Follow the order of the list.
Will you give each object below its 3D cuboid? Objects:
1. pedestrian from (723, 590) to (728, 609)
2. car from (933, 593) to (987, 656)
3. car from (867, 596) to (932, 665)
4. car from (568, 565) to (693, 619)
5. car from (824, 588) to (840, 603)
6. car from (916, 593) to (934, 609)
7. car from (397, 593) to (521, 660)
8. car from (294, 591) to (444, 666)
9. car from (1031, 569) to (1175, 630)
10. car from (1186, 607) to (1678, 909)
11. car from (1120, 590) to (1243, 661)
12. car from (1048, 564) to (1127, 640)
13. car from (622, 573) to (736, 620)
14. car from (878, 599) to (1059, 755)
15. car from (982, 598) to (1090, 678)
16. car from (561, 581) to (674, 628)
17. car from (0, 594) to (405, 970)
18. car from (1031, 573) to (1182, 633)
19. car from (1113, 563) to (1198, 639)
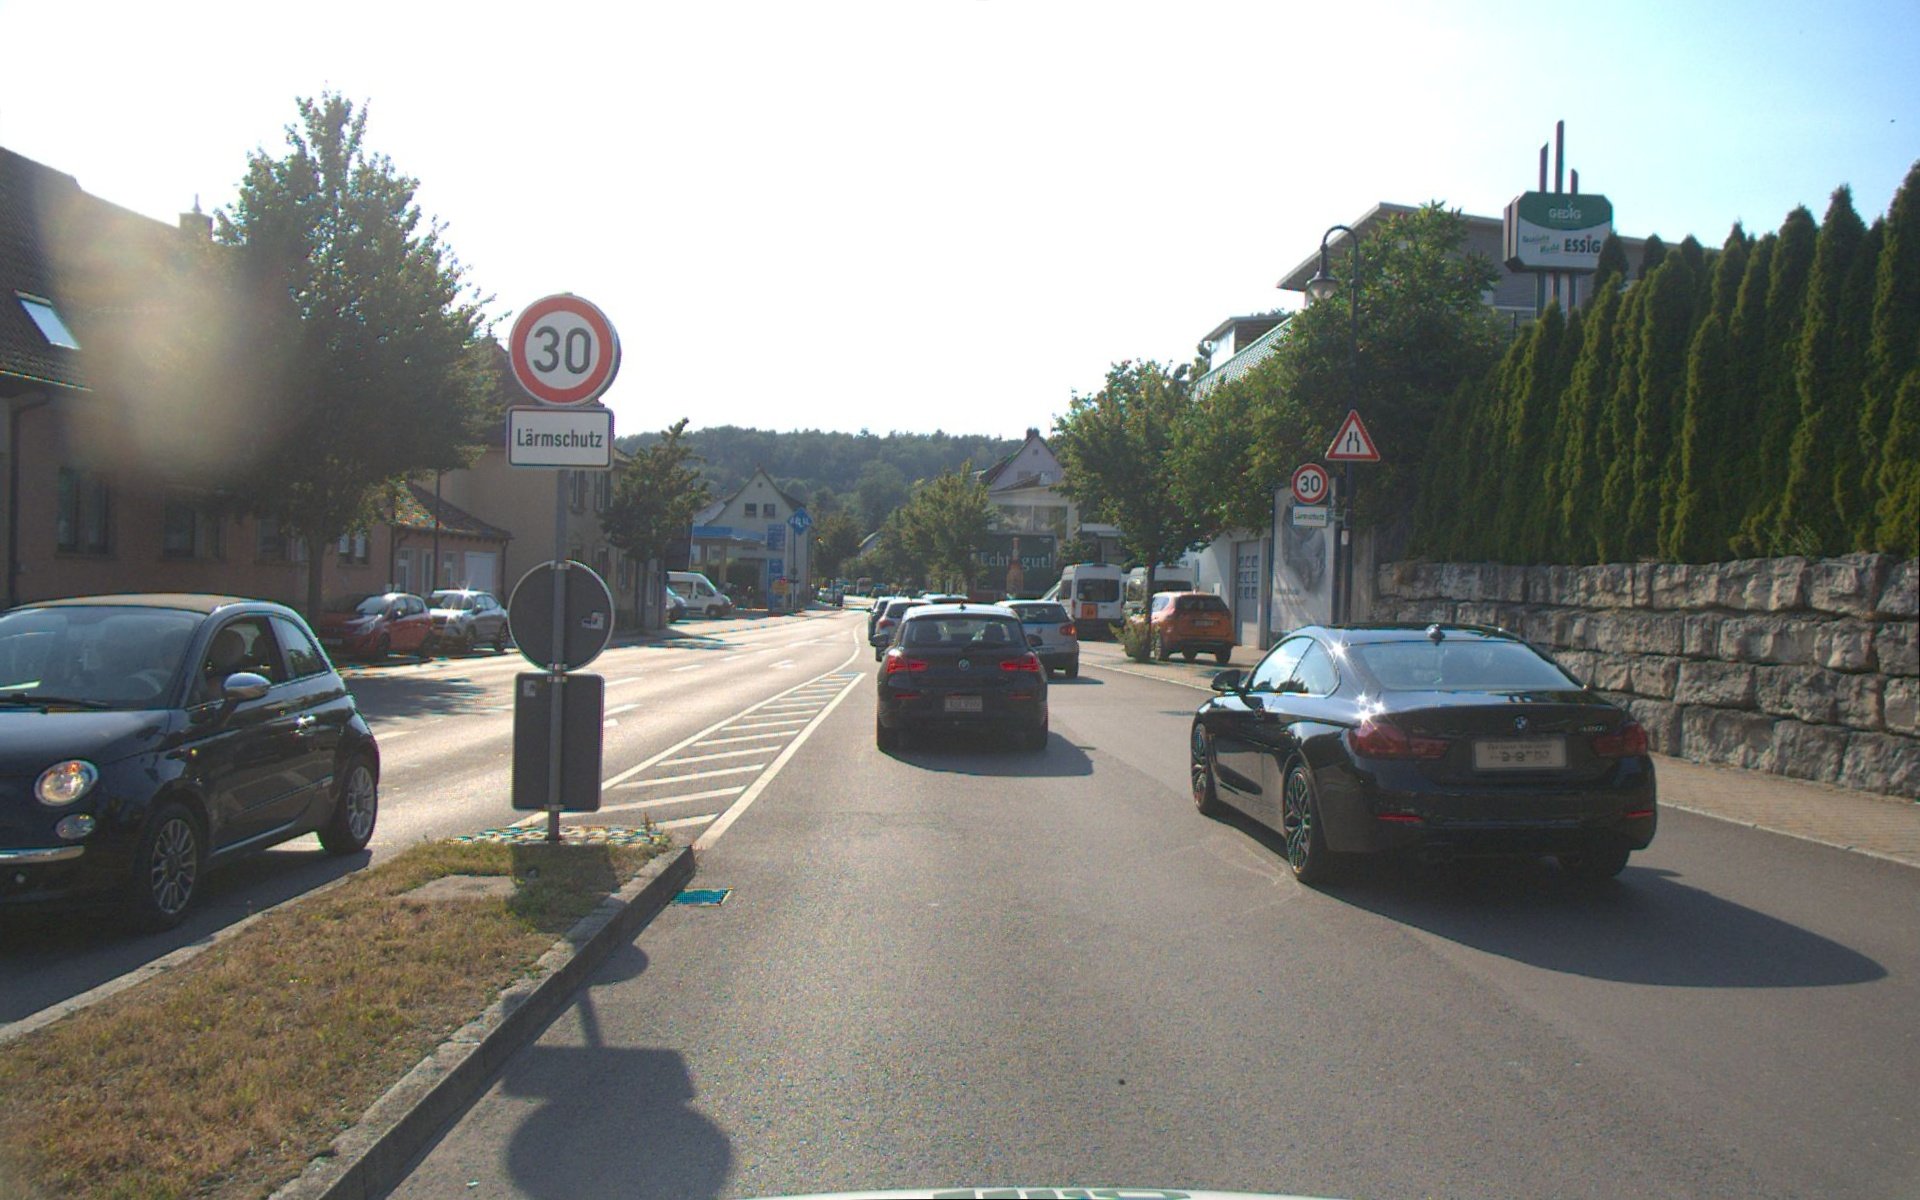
[{"bbox_3d":[-17.525,-0.034,123.602,0.259,1.407,0.285,0,0,-27],"label":"pedestrian"},{"bbox_3d":[0.007,0.710,50.113,1.570,1.798,3.411,0,1,0],"label":"car"},{"bbox_3d":[-1.518,0.724,41.457,1.560,1.628,3.892,0,1,-2],"label":"car"},{"bbox_3d":[-16.691,-0.416,83.926,5.797,2.523,2.195,1,2,2],"label":"car"},{"bbox_3d":[-13.297,-0.471,172.172,1.565,1.511,3.472,1,1,-3],"label":"car"},{"bbox_3d":[-3.364,0.095,159.598,1.565,1.511,3.472,1,1,-3],"label":"car"},{"bbox_3d":[-12.831,0.640,42.586,1.719,1.504,4.002,3,1,3],"label":"car"},{"bbox_3d":[-13.264,0.605,37.358,1.631,1.513,4.002,3,0,4],"label":"car"},{"bbox_3d":[6.142,-0.027,71.314,5.925,2.560,2.042,0,0,-5],"label":"car"},{"bbox_3d":[2.614,0.779,10.236,1.665,1.393,4.260,0,1,-3],"label":"car"},{"bbox_3d":[5.476,0.596,41.421,1.801,1.678,4.528,0,0,-10],"label":"car"},{"bbox_3d":[4.789,0.024,63.080,2.107,2.727,6.598,0,1,-4],"label":"car"},{"bbox_3d":[-15.874,-0.225,93.691,6.035,2.487,2.248,1,0,-2],"label":"car"},{"bbox_3d":[0.045,0.737,17.604,1.736,1.482,3.515,0,0,-1],"label":"car"},{"bbox_3d":[1.439,0.709,32.507,1.719,1.438,3.419,0,1,-4],"label":"car"},{"bbox_3d":[-16.084,0.200,77.928,4.874,2.034,1.936,1,2,0],"label":"car"},{"bbox_3d":[-4.189,0.728,8.435,1.501,1.487,3.506,0,1,0],"label":"car"},{"bbox_3d":[6.013,0.105,68.261,5.925,2.404,2.042,0,0,-5],"label":"car"},{"bbox_3d":[7.455,0.018,63.737,2.069,2.769,6.438,0,1,-4],"label":"car"}]
